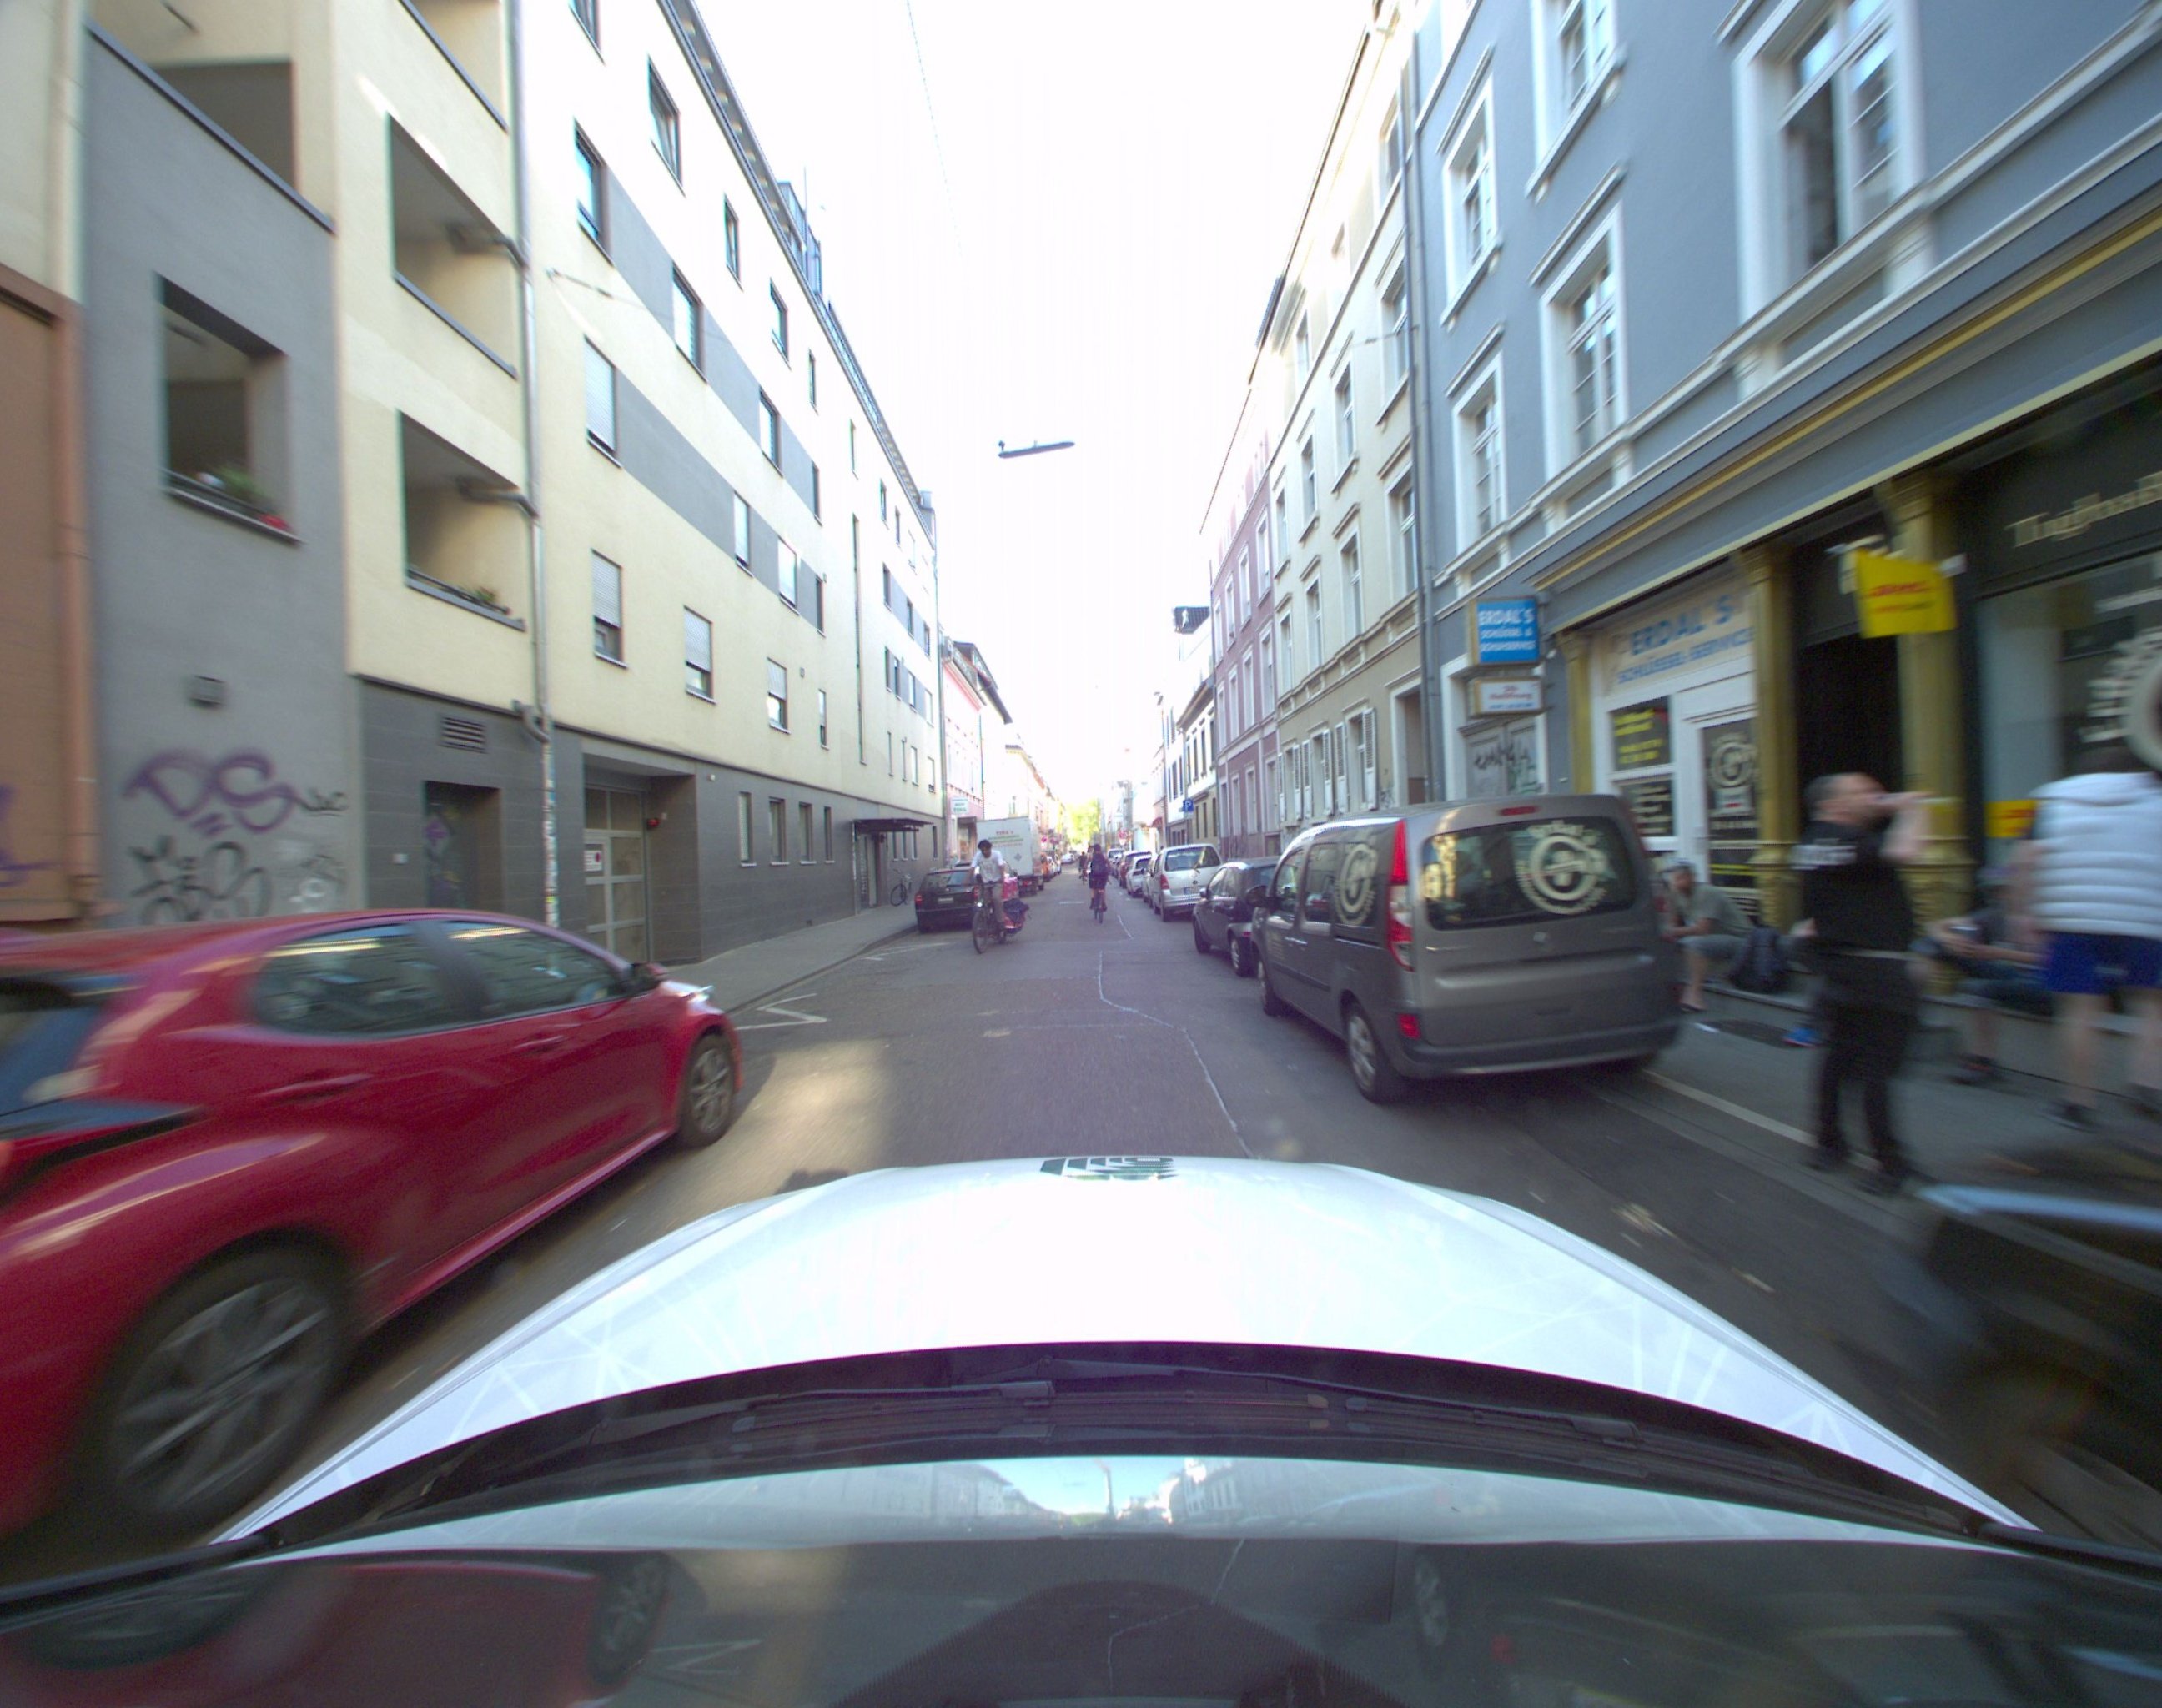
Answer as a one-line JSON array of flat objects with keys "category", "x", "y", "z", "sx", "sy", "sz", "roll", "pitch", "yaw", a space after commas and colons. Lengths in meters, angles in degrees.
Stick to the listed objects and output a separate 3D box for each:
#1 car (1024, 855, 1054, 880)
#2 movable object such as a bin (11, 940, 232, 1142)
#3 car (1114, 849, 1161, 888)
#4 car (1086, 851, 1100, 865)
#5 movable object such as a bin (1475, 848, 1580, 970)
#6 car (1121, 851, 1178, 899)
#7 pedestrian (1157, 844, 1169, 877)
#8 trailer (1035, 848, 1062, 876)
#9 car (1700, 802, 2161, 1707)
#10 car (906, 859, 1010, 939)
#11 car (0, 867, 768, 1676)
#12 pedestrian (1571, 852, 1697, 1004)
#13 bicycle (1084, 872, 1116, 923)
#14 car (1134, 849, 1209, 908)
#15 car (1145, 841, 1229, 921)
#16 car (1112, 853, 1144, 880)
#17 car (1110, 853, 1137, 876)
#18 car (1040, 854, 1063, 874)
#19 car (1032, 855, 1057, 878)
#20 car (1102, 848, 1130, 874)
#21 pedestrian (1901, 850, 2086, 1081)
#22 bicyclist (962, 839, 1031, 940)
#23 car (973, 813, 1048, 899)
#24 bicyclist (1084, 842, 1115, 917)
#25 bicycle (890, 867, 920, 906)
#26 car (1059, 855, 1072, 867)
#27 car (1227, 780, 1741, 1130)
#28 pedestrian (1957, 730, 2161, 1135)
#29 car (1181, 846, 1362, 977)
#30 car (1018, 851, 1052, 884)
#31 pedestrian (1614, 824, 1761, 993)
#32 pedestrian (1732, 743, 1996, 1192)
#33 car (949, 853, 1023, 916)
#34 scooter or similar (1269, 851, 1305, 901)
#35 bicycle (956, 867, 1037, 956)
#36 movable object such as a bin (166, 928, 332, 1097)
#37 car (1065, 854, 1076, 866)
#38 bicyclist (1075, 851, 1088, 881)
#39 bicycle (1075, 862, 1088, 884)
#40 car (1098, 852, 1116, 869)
[{"category": "car", "x": -2.803, "y": 0.921, "z": 55.743, "sx": 1.744, "sy": 1.537, "sz": 4.318, "roll": -3, "pitch": -1, "yaw": 0}, {"category": "movable object such as a bin", "x": -5.906, "y": 1.100, "z": 5.031, "sx": 0.752, "sy": 1.067, "sz": 0.655, "roll": -1, "pitch": -1, "yaw": 20}, {"category": "car", "x": 2.611, "y": 0.654, "z": 38.623, "sx": 1.912, "sy": 1.706, "sz": 4.365, "roll": -2, "pitch": 0, "yaw": 0}, {"category": "car", "x": 1.404, "y": 0.519, "z": 95.833, "sx": 1.606, "sy": 1.560, "sz": 3.609, "roll": -1, "pitch": -1, "yaw": 0}, {"category": "movable object such as a bin", "x": 4.867, "y": 0.585, "z": 8.912, "sx": 0.760, "sy": 1.243, "sz": 0.580, "roll": -3, "pitch": -1, "yaw": -3}, {"category": "car", "x": 2.497, "y": 0.748, "z": 30.512, "sx": 1.681, "sy": 1.543, "sz": 4.045, "roll": -4, "pitch": -1, "yaw": 0}, {"category": "pedestrian", "x": 4.968, "y": 0.391, "z": 49.514, "sx": 0.642, "sy": 2.014, "sz": 0.763, "roll": -1, "pitch": -1, "yaw": 0}, {"category": "trailer", "x": -2.571, "y": 0.642, "z": 65.398, "sx": 1.876, "sy": 2.092, "sz": 3.736, "roll": -3, "pitch": -1, "yaw": 0}, {"category": "car", "x": 2.446, "y": 0.663, "z": 0.507, "sx": 1.564, "sy": 1.556, "sz": 3.315, "roll": -5, "pitch": -1, "yaw": 2}, {"category": "car", "x": -2.825, "y": 0.980, "z": 19.636, "sx": 1.711, "sy": 1.478, "sz": 4.498, "roll": -5, "pitch": 1, "yaw": 0}, {"category": "car", "x": -2.964, "y": 0.897, "z": 3.291, "sx": 1.745, "sy": 1.522, "sz": 3.869, "roll": -5, "pitch": -1, "yaw": 0}, {"category": "pedestrian", "x": 4.892, "y": 0.635, "z": 7.247, "sx": 0.673, "sy": 1.277, "sz": 0.628, "roll": -1, "pitch": -1, "yaw": 2}, {"category": "bicycle", "x": 0.420, "y": 0.980, "z": 18.938, "sx": 0.675, "sy": 1.074, "sz": 1.941, "roll": -1, "pitch": -1, "yaw": 0}, {"category": "car", "x": 2.680, "y": 0.698, "z": 25.086, "sx": 1.691, "sy": 1.543, "sz": 4.628, "roll": -4, "pitch": -1, "yaw": 0}, {"category": "car", "x": 2.475, "y": 0.608, "z": 19.713, "sx": 1.551, "sy": 1.712, "sz": 3.558, "roll": -1, "pitch": -1, "yaw": 0}, {"category": "car", "x": 2.900, "y": 0.769, "z": 51.238, "sx": 1.641, "sy": 1.475, "sz": 3.970, "roll": -6, "pitch": -1, "yaw": 0}, {"category": "car", "x": 2.949, "y": 0.732, "z": 57.156, "sx": 1.743, "sy": 1.487, "sz": 3.801, "roll": -3, "pitch": -1, "yaw": 2}, {"category": "car", "x": -2.509, "y": 0.868, "z": 69.531, "sx": 1.744, "sy": 1.573, "sz": 3.795, "roll": -3, "pitch": -1, "yaw": 0}, {"category": "car", "x": -2.684, "y": 0.919, "z": 60.939, "sx": 1.648, "sy": 1.537, "sz": 3.634, "roll": -3, "pitch": -1, "yaw": 0}, {"category": "car", "x": 2.645, "y": 0.544, "z": 62.219, "sx": 1.746, "sy": 1.878, "sz": 3.969, "roll": -3, "pitch": -1, "yaw": -2}, {"category": "pedestrian", "x": 5.121, "y": 0.596, "z": 4.597, "sx": 0.436, "sy": 1.222, "sz": 0.515, "roll": -1, "pitch": -1, "yaw": 2}, {"category": "bicyclist", "x": -1.435, "y": 0.593, "z": 14.054, "sx": 0.947, "sy": 1.628, "sz": 0.953, "roll": -4, "pitch": 0, "yaw": 2}, {"category": "car", "x": -2.960, "y": 0.102, "z": 36.047, "sx": 2.335, "sy": 3.291, "sz": 7.155, "roll": -4, "pitch": -1, "yaw": 1}, {"category": "bicyclist", "x": 0.412, "y": 0.579, "z": 18.951, "sx": 0.665, "sy": 1.677, "sz": 1.097, "roll": -1, "pitch": -1, "yaw": 0}, {"category": "bicycle", "x": -5.708, "y": 1.023, "z": 26.532, "sx": 0.488, "sy": 1.164, "sz": 1.774, "roll": -4, "pitch": 0, "yaw": 1}, {"category": "car", "x": -2.294, "y": 0.986, "z": 118.805, "sx": 1.744, "sy": 1.683, "sz": 3.795, "roll": -3, "pitch": -1, "yaw": 0}, {"category": "car", "x": 2.502, "y": 0.542, "z": 6.430, "sx": 1.893, "sy": 1.793, "sz": 4.314, "roll": -1, "pitch": -1, "yaw": 0}, {"category": "pedestrian", "x": 4.586, "y": 0.342, "z": 3.784, "sx": 0.555, "sy": 1.740, "sz": 0.430, "roll": -2, "pitch": -1, "yaw": 30}, {"category": "car", "x": 2.487, "y": 0.695, "z": 11.461, "sx": 1.548, "sy": 1.511, "sz": 3.608, "roll": -1, "pitch": -1, "yaw": -2}, {"category": "car", "x": -2.758, "y": 0.800, "z": 49.967, "sx": 1.747, "sy": 1.816, "sz": 4.077, "roll": -4, "pitch": -1, "yaw": -1}, {"category": "pedestrian", "x": 4.856, "y": 0.419, "z": 6.557, "sx": 0.673, "sy": 1.277, "sz": 0.654, "roll": -1, "pitch": -1, "yaw": 2}, {"category": "pedestrian", "x": 3.253, "y": 0.432, "z": 3.438, "sx": 0.439, "sy": 1.704, "sz": 0.654, "roll": -1, "pitch": -1, "yaw": 1}, {"category": "car", "x": -2.892, "y": 0.878, "z": 25.594, "sx": 1.711, "sy": 1.650, "sz": 4.245, "roll": -5, "pitch": 1, "yaw": 0}, {"category": "scooter or similar", "x": 5.181, "y": 0.534, "z": 20.535, "sx": 0.449, "sy": 1.182, "sz": 1.368, "roll": -6, "pitch": -1, "yaw": 0}, {"category": "bicycle", "x": -1.410, "y": 0.930, "z": 14.190, "sx": 0.973, "sy": 1.314, "sz": 2.557, "roll": -3, "pitch": 0, "yaw": 2}, {"category": "movable object such as a bin", "x": -6.001, "y": 1.110, "z": 5.915, "sx": 0.732, "sy": 1.067, "sz": 0.501, "roll": -1, "pitch": -1, "yaw": -31}, {"category": "car", "x": -1.750, "y": 0.973, "z": 135.829, "sx": 1.744, "sy": 1.821, "sz": 3.795, "roll": -3, "pitch": -1, "yaw": 0}, {"category": "bicyclist", "x": 0.019, "y": 0.617, "z": 43.139, "sx": 0.669, "sy": 1.567, "sz": 0.716, "roll": -1, "pitch": -1, "yaw": -1}, {"category": "bicycle", "x": 0.026, "y": 0.980, "z": 43.089, "sx": 0.646, "sy": 1.129, "sz": 2.135, "roll": -1, "pitch": -1, "yaw": 0}, {"category": "car", "x": 2.488, "y": 0.620, "z": 79.272, "sx": 1.606, "sy": 1.633, "sz": 3.609, "roll": -1, "pitch": -1, "yaw": 0}]
